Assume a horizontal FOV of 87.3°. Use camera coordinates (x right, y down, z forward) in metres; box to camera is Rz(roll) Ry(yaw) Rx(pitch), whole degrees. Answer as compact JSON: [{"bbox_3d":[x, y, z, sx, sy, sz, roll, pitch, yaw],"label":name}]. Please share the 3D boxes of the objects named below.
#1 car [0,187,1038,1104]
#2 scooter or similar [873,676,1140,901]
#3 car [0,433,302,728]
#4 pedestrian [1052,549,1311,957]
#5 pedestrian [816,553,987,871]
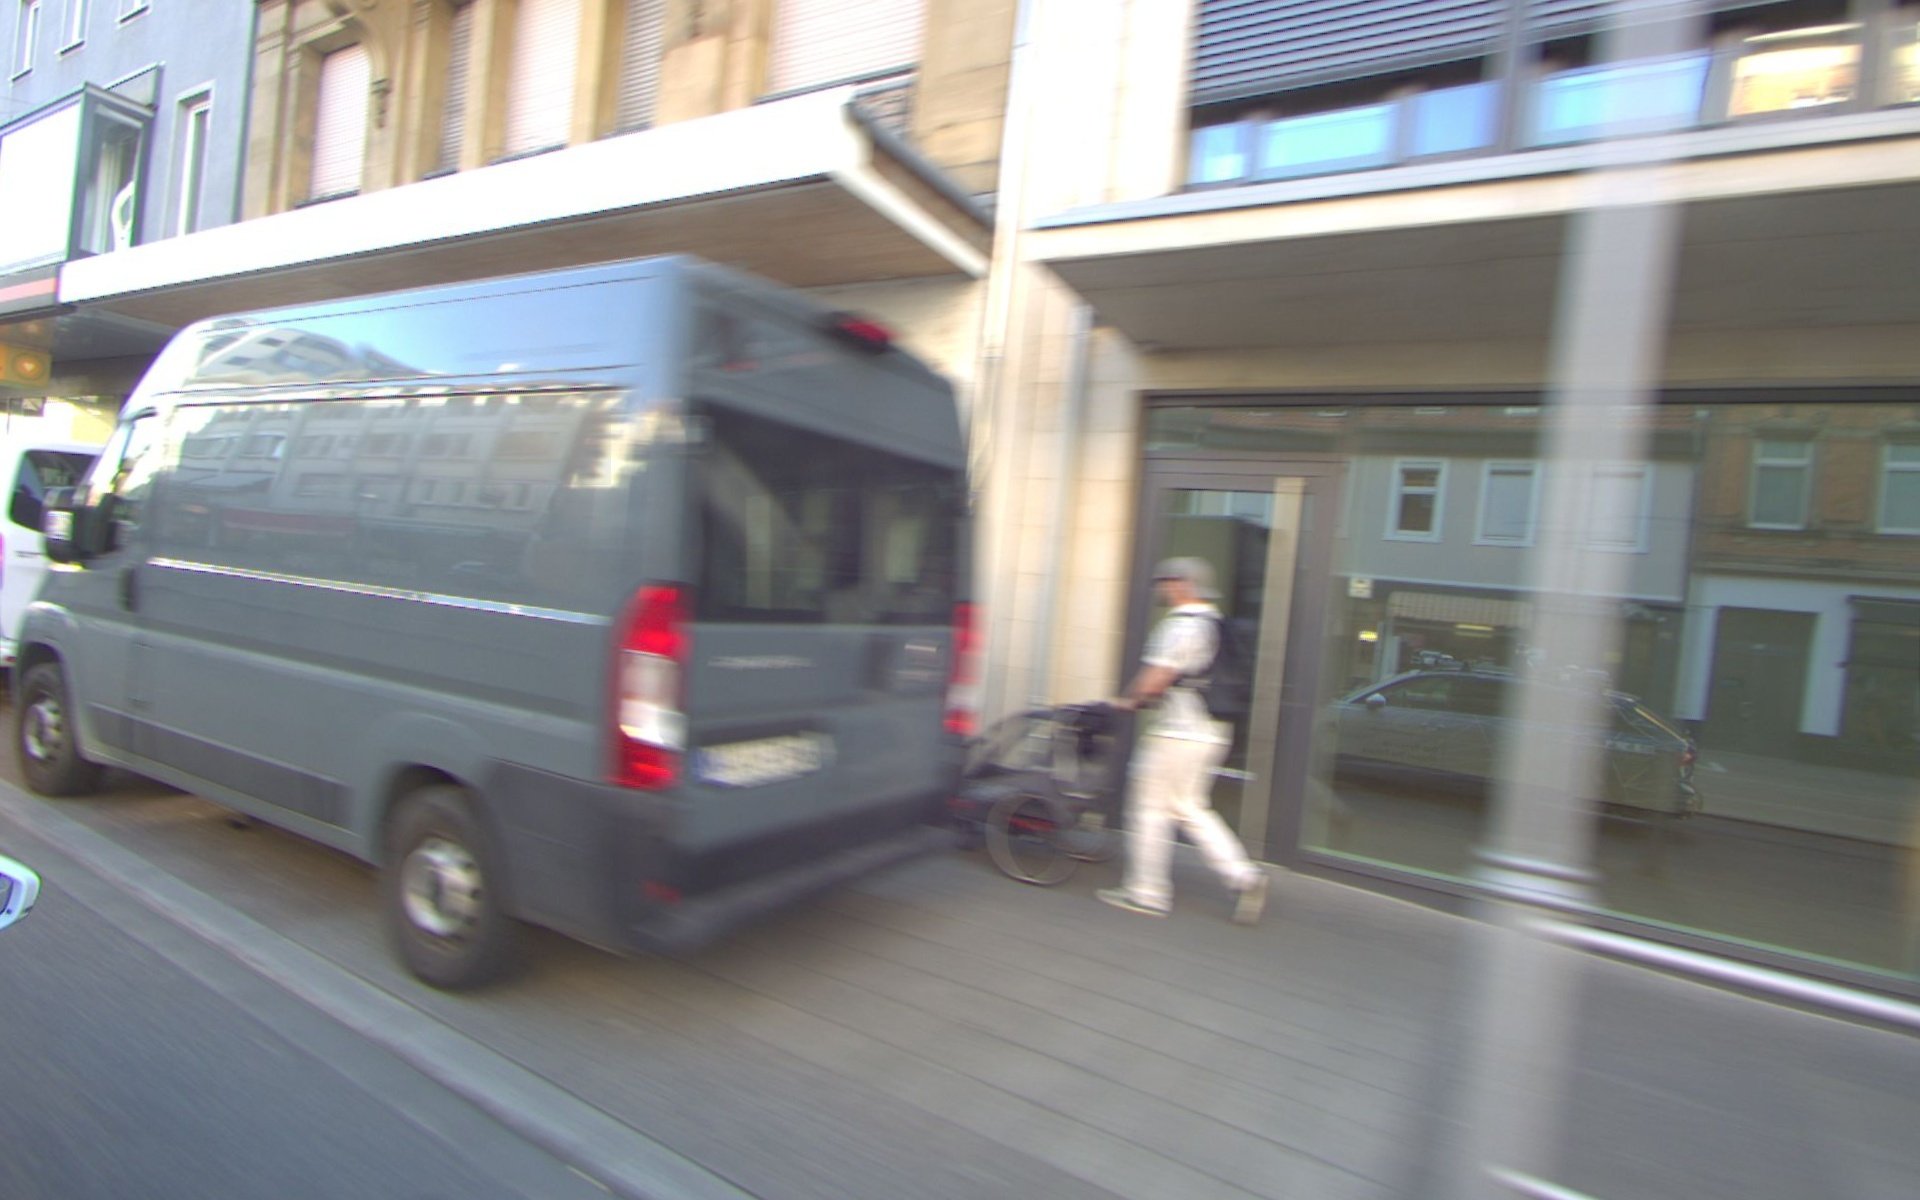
[{"bbox_3d":[-2.556,-0.069,5.018,5.272,2.494,2.172,7,2,31],"label":"car"},{"bbox_3d":[0.249,0.987,5.598,1.276,0.948,0.594,6,2,30],"label":"scooter or similar"},{"bbox_3d":[-7.952,-0.335,8.437,4.538,1.953,2.159,7,3,29],"label":"car"},{"bbox_3d":[1.069,0.673,4.876,0.938,1.737,0.556,7,2,30],"label":"pedestrian"},{"bbox_3d":[-0.311,0.594,5.566,0.517,1.607,0.632,7,1,31],"label":"pedestrian"}]
